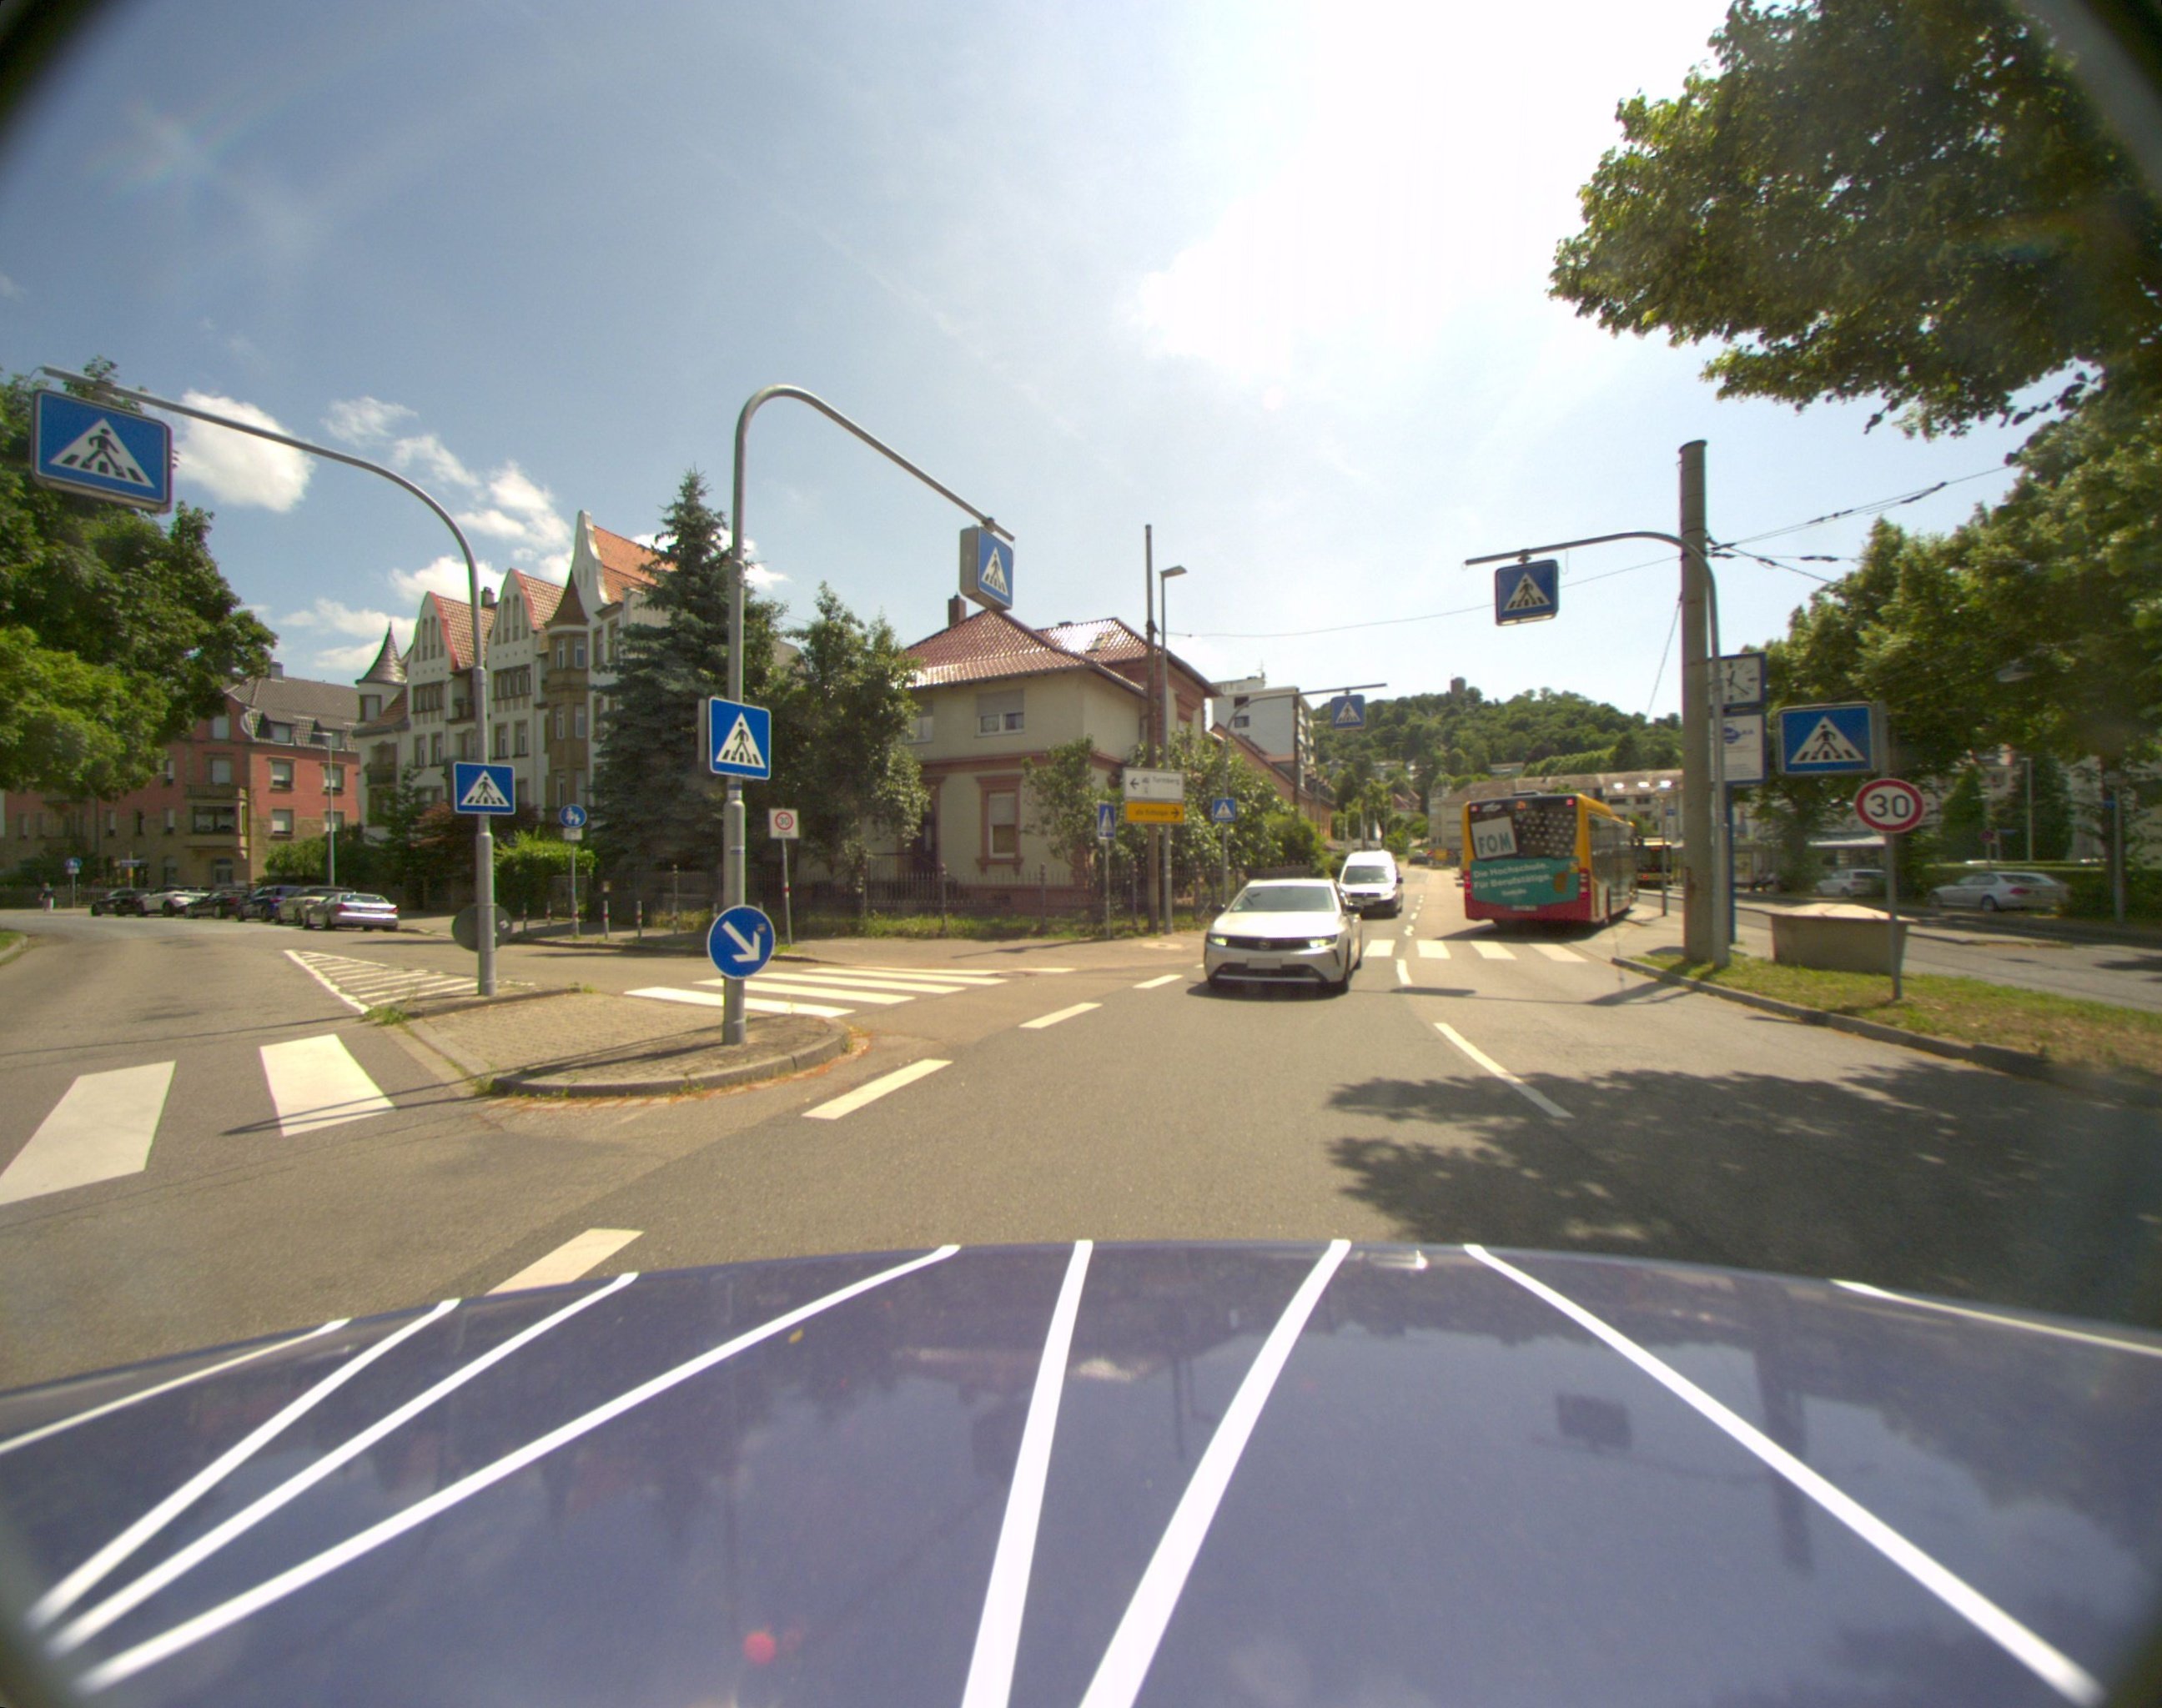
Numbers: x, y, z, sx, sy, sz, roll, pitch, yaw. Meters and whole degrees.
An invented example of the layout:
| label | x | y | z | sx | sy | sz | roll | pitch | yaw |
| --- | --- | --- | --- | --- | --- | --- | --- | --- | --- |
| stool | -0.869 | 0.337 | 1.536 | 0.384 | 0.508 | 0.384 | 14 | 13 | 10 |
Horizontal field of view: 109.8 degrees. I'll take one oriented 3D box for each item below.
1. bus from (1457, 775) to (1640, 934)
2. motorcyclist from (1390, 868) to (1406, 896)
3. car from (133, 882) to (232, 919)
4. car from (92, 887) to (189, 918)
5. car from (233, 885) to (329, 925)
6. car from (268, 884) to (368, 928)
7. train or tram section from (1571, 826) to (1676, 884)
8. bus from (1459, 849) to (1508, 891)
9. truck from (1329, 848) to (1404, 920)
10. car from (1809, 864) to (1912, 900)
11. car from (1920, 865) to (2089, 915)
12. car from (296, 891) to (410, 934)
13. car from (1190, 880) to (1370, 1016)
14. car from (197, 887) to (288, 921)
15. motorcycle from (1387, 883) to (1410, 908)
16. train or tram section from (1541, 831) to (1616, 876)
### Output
| label | x | y | z | sx | sy | sz | roll | pitch | yaw |
| --- | --- | --- | --- | --- | --- | --- | --- | --- | --- |
| bus | 13.141 | 0.078 | 20.710 | 2.701 | 3.277 | 10.883 | -2 | -1 | 40 |
| motorcyclist | 14.286 | 1.250 | 34.272 | 0.539 | 1.236 | 0.556 | 0 | 0 | 35 |
| car | -43.097 | 2.243 | 36.455 | 3.866 | 1.603 | 1.779 | 0 | -5 | 21 |
| car | -47.259 | 2.443 | 38.179 | 3.866 | 1.381 | 1.779 | 0 | -5 | 20 |
| car | -33.094 | 2.111 | 31.428 | 3.989 | 1.505 | 1.780 | -1 | -6 | 31 |
| car | -28.851 | 1.961 | 28.717 | 3.989 | 1.505 | 1.780 | -1 | -6 | 33 |
| train or tram section | 37.440 | 0.051 | 53.110 | 2.892 | 3.499 | 13.925 | -1 | 0 | 23 |
| bus | 32.612 | 1.255 | 61.900 | 2.570 | 3.170 | 10.173 | -1 | -1 | 23 |
| truck | 9.997 | 0.999 | 26.333 | 2.016 | 2.235 | 5.418 | -2 | -2 | 24 |
| car | 34.810 | 1.200 | 34.069 | 1.840 | 1.473 | 3.879 | -1 | 0 | 23 |
| car | 30.793 | 1.150 | 25.552 | 1.840 | 1.473 | 4.265 | -1 | 0 | 23 |
| car | -24.659 | 1.987 | 25.718 | 3.989 | 1.317 | 1.824 | -2 | -6 | 33 |
| car | 3.034 | 1.157 | 10.898 | 1.798 | 1.457 | 4.179 | -2 | -1 | 24 |
| car | -37.818 | 2.253 | 34.267 | 3.989 | 1.379 | 1.779 | -1 | -6 | 29 |
| motorcycle | 14.335 | 1.862 | 34.276 | 0.667 | 1.051 | 1.439 | -1 | 0 | 35 |
| train or tram section | 42.845 | -0.051 | 65.988 | 2.892 | 3.499 | 13.925 | -1 | 0 | 23 |
